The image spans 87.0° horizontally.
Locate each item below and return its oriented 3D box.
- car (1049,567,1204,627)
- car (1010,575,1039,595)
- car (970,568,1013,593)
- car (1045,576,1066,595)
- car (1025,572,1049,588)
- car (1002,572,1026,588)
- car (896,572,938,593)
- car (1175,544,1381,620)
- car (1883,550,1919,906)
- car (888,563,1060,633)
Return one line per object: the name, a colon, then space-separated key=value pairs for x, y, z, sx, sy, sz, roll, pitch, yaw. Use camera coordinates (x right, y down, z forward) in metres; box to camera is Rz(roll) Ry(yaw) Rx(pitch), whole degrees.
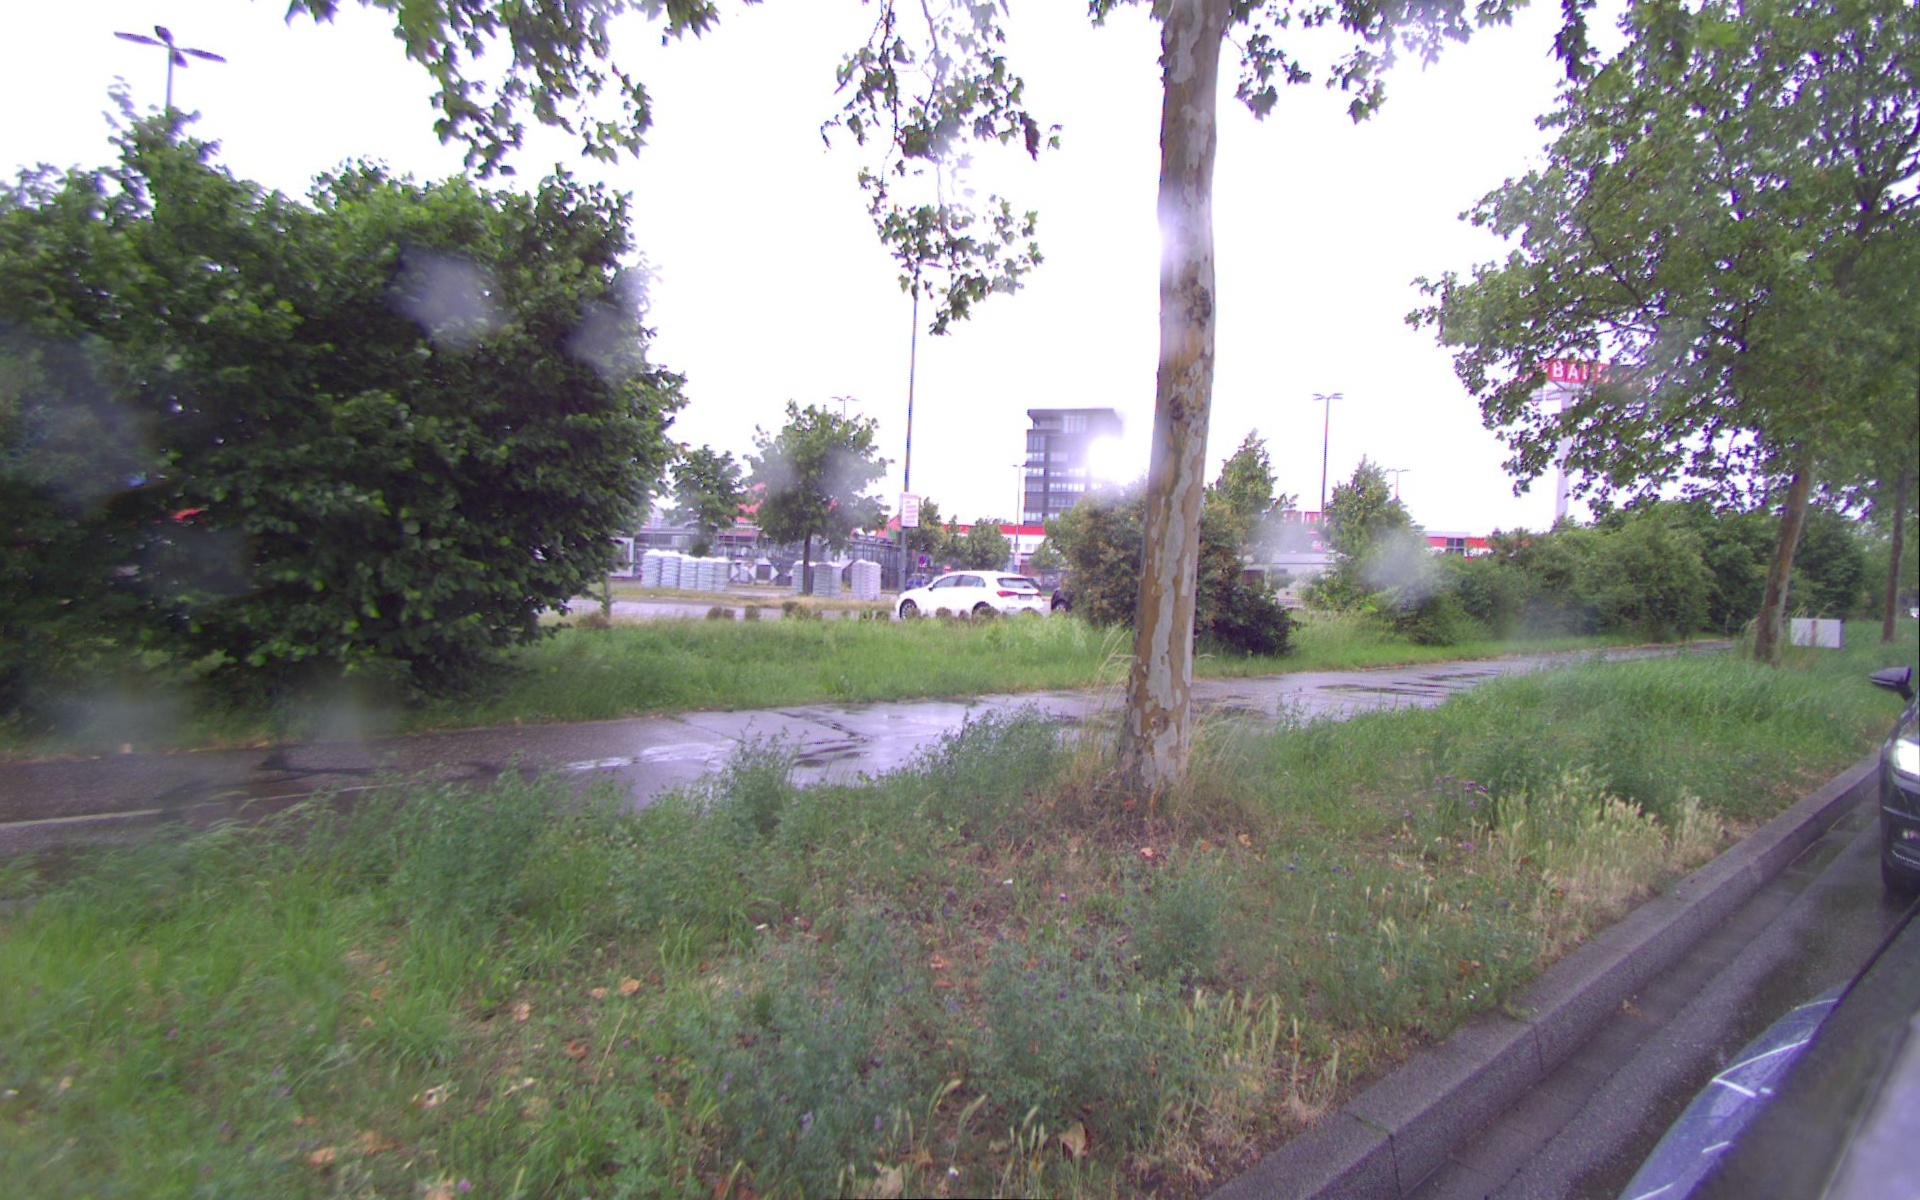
car: x=4.929 y=-0.146 z=30.285 sx=1.899 sy=1.571 sz=4.262 roll=0 pitch=2 yaw=-45
car: x=6.036 y=-1.433 z=94.713 sx=1.973 sy=1.697 sz=4.255 roll=2 pitch=2 yaw=14
car: x=2.161 y=-1.347 z=68.055 sx=1.903 sy=1.571 sz=4.254 roll=2 pitch=2 yaw=15
car: x=9.358 y=-1.418 z=98.838 sx=1.968 sy=1.697 sz=4.267 roll=2 pitch=2 yaw=6
car: x=8.507 y=-2.268 z=111.888 sx=1.973 sy=1.697 sz=4.257 roll=2 pitch=2 yaw=13
car: x=6.012 y=-2.260 z=112.489 sx=1.973 sy=1.697 sz=4.257 roll=2 pitch=2 yaw=13
car: x=-3.305 y=-1.390 z=79.170 sx=1.905 sy=1.571 sz=4.249 roll=2 pitch=2 yaw=18
car: x=10.954 y=-0.697 z=35.273 sx=6.399 sy=2.392 sz=2.357 roll=3 pitch=2 yaw=41
car: x=6.556 y=0.581 z=5.604 sx=4.548 sy=1.625 sz=1.768 roll=0 pitch=0 yaw=-43
car: x=0.287 y=-0.104 z=25.930 sx=1.899 sy=1.571 sz=4.262 roll=0 pitch=2 yaw=-45
